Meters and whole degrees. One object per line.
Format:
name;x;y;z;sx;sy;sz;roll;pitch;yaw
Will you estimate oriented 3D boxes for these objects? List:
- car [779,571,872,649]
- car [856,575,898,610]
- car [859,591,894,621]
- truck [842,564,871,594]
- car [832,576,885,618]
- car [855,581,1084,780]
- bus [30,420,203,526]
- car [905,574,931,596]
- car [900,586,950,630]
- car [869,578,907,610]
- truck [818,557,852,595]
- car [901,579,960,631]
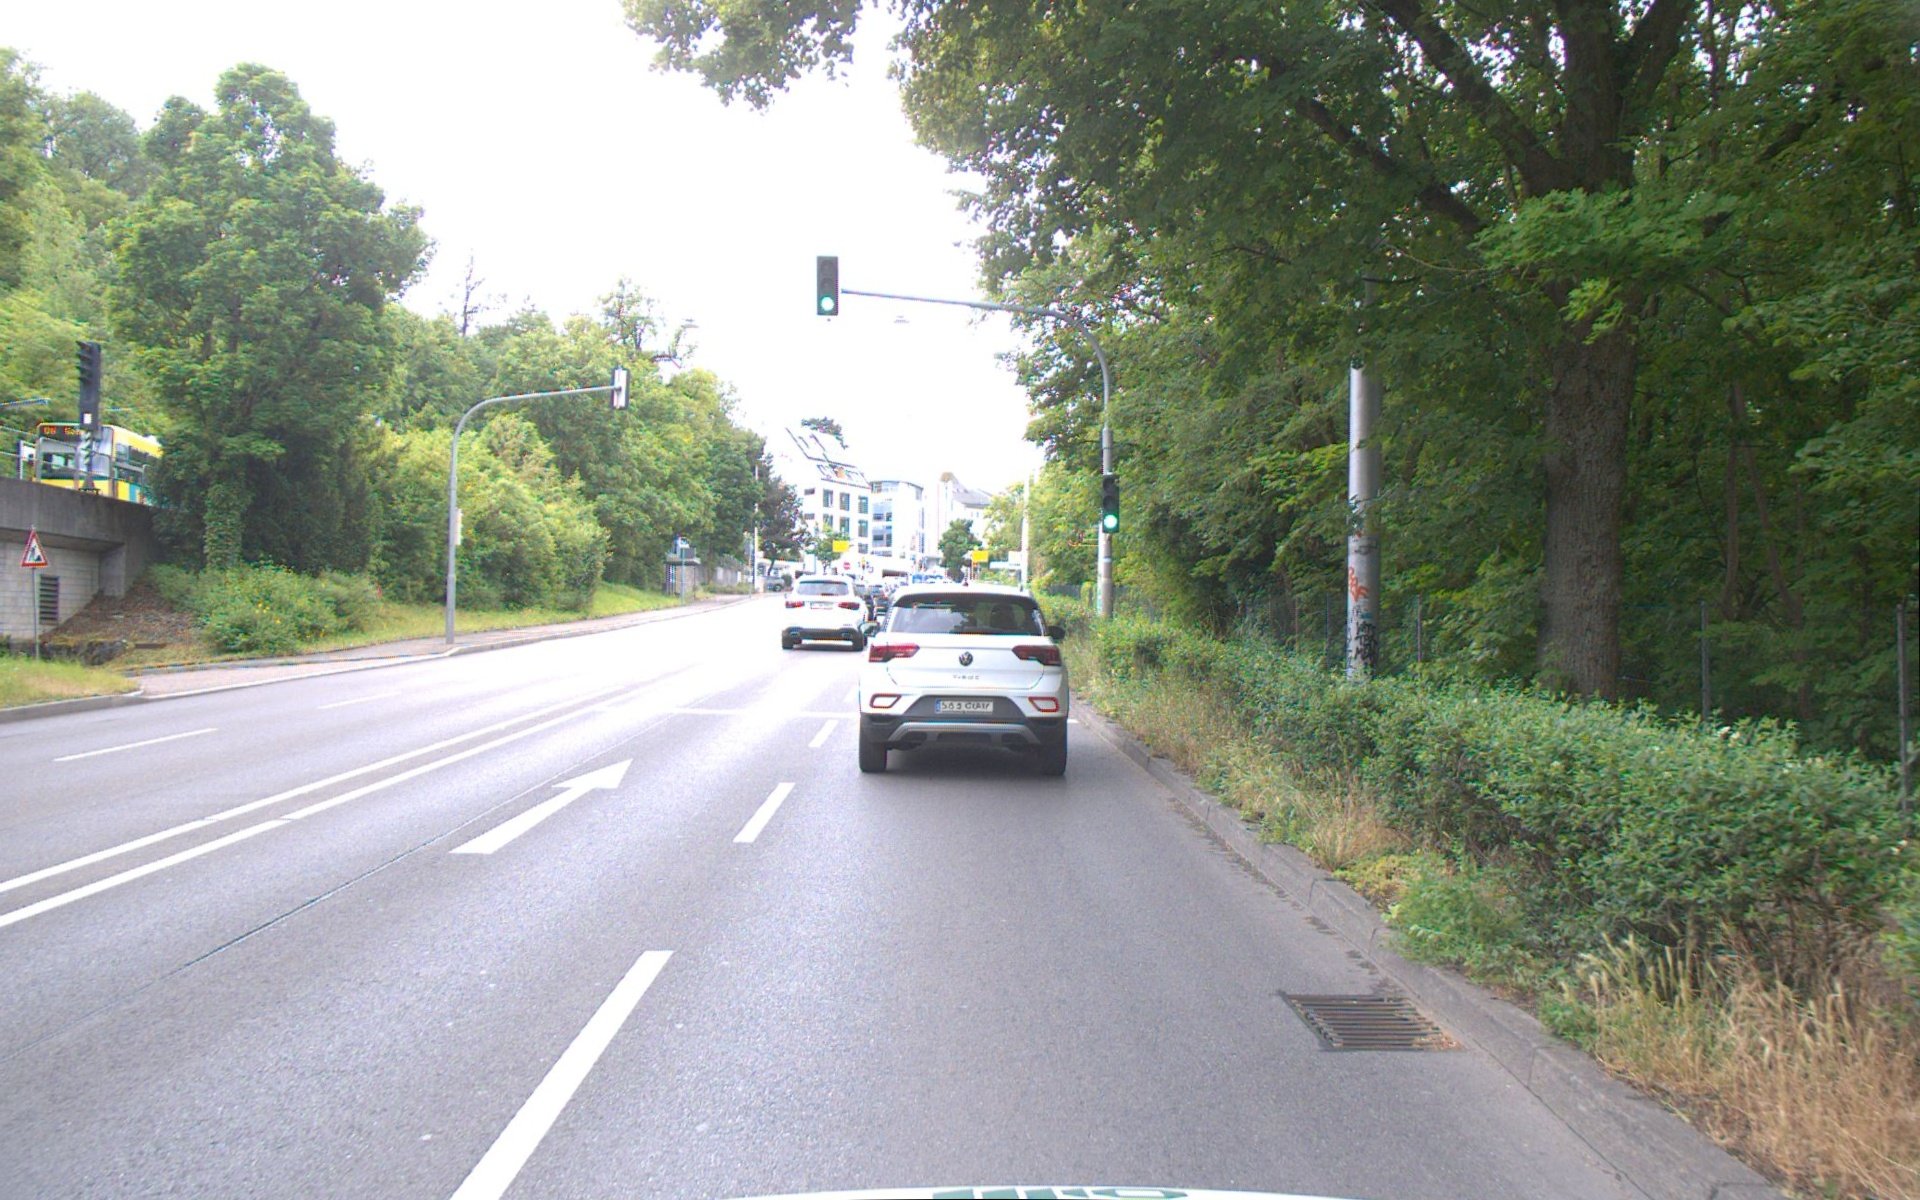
car;-3.034;0.197;38.000;1.879;1.698;3.999;0;0;-1
car;-3.761;-0.332;75.880;1.792;1.552;3.999;0;0;-1
car;-4.607;0.318;91.694;1.792;1.552;3.999;0;0;-1
truck;-10.992;-2.244;176.112;2.245;3.104;6.982;-1;0;3
car;-3.759;-0.123;61.621;1.792;1.523;3.999;0;0;-1
car;0.039;0.611;14.937;1.792;1.552;3.999;0;0;-1
bus;-28.232;-4.148;55.778;2.492;2.838;7.932;-1;-1;-6
car;-3.042;-1.116;120.436;1.792;1.552;3.999;0;0;-1
car;-1.299;0.276;61.643;1.792;1.552;3.999;0;0;-1
car;-3.610;-0.328;83.322;1.792;1.552;3.999;0;0;-1
truck;-9.482;-1.808;125.746;2.314;2.754;4.477;-1;1;-1
car;-0.940;0.135;52.434;1.792;1.552;3.999;0;0;-1
